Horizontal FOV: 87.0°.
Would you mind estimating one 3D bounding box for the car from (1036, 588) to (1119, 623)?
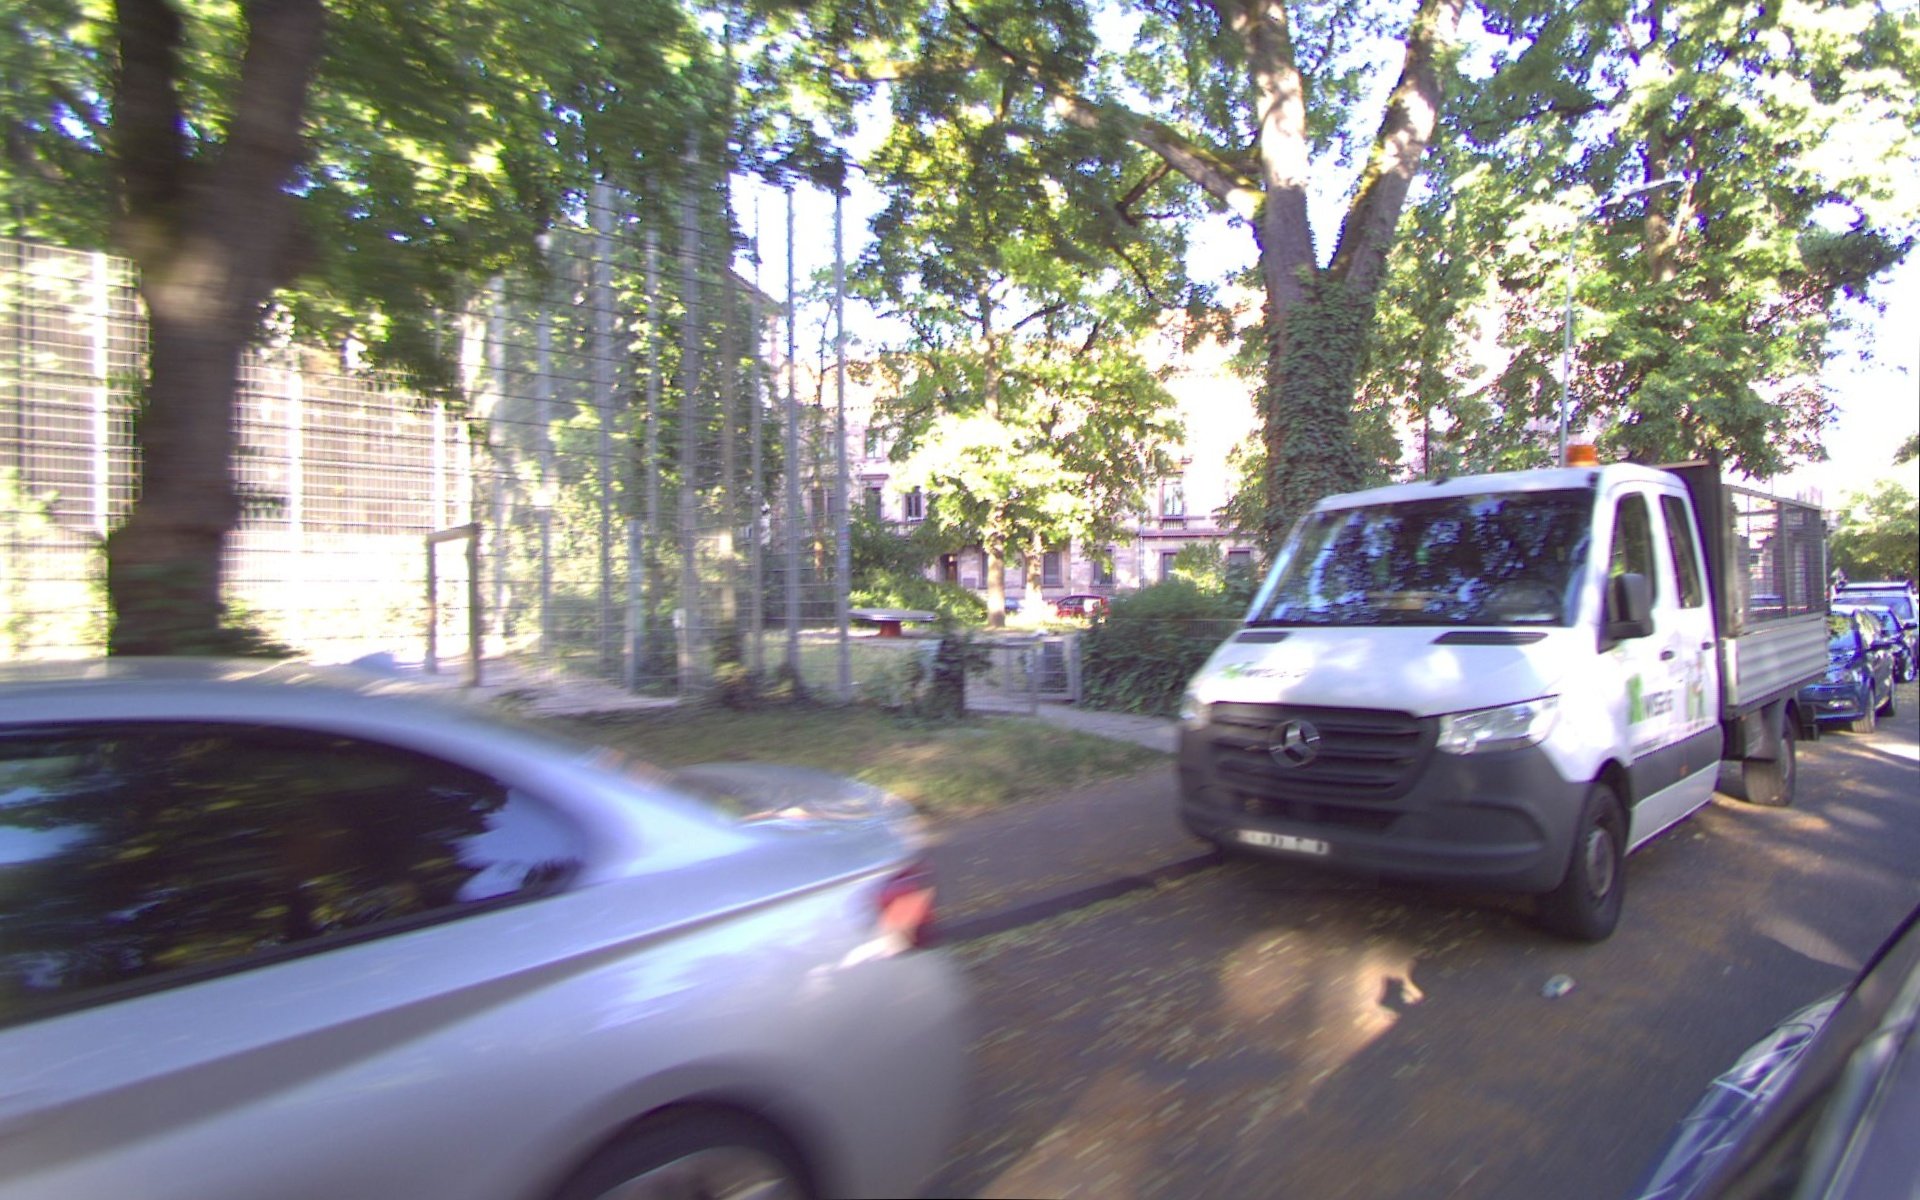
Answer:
[{"bbox_3d":[5.235,0.227,45.010,3.419,1.427,1.791,1,1,16],"label":"car"}]

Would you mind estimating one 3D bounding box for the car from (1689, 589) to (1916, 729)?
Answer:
[{"bbox_3d":[10.628,0.617,12.676,3.827,1.477,1.674,-1,0,-42],"label":"car"}]

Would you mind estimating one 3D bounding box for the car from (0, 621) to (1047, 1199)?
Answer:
[{"bbox_3d":[-1.970,0.796,1.477,4.222,1.415,1.676,-1,0,-39],"label":"car"}]

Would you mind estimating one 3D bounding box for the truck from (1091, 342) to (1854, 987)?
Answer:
[{"bbox_3d":[4.027,0.213,6.927,6.814,2.416,2.299,-1,0,-41],"label":"truck"}]

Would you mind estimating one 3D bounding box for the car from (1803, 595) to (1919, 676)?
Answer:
[{"bbox_3d":[17.888,0.627,19.836,4.196,1.408,1.673,-1,0,-45],"label":"car"}]

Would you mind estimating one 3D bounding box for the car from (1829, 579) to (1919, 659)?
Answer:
[{"bbox_3d":[21.723,0.390,23.705,1.787,1.729,4.307,-1,0,44],"label":"car"}]

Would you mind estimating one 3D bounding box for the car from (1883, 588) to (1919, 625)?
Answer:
[{"bbox_3d":[45.061,0.261,47.585,1.931,1.643,4.187,-4,-2,37],"label":"car"}]

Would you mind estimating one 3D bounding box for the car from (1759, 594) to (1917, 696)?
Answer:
[{"bbox_3d":[14.615,0.650,16.788,3.830,1.477,1.673,-1,0,-44],"label":"car"}]

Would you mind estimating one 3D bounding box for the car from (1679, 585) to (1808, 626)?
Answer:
[{"bbox_3d":[33.368,0.254,43.235,3.945,1.668,1.674,-1,-3,17],"label":"car"}]

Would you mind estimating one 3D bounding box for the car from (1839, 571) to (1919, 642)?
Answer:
[{"bbox_3d":[27.835,0.158,30.473,1.963,1.960,5.376,-1,0,40],"label":"car"}]
